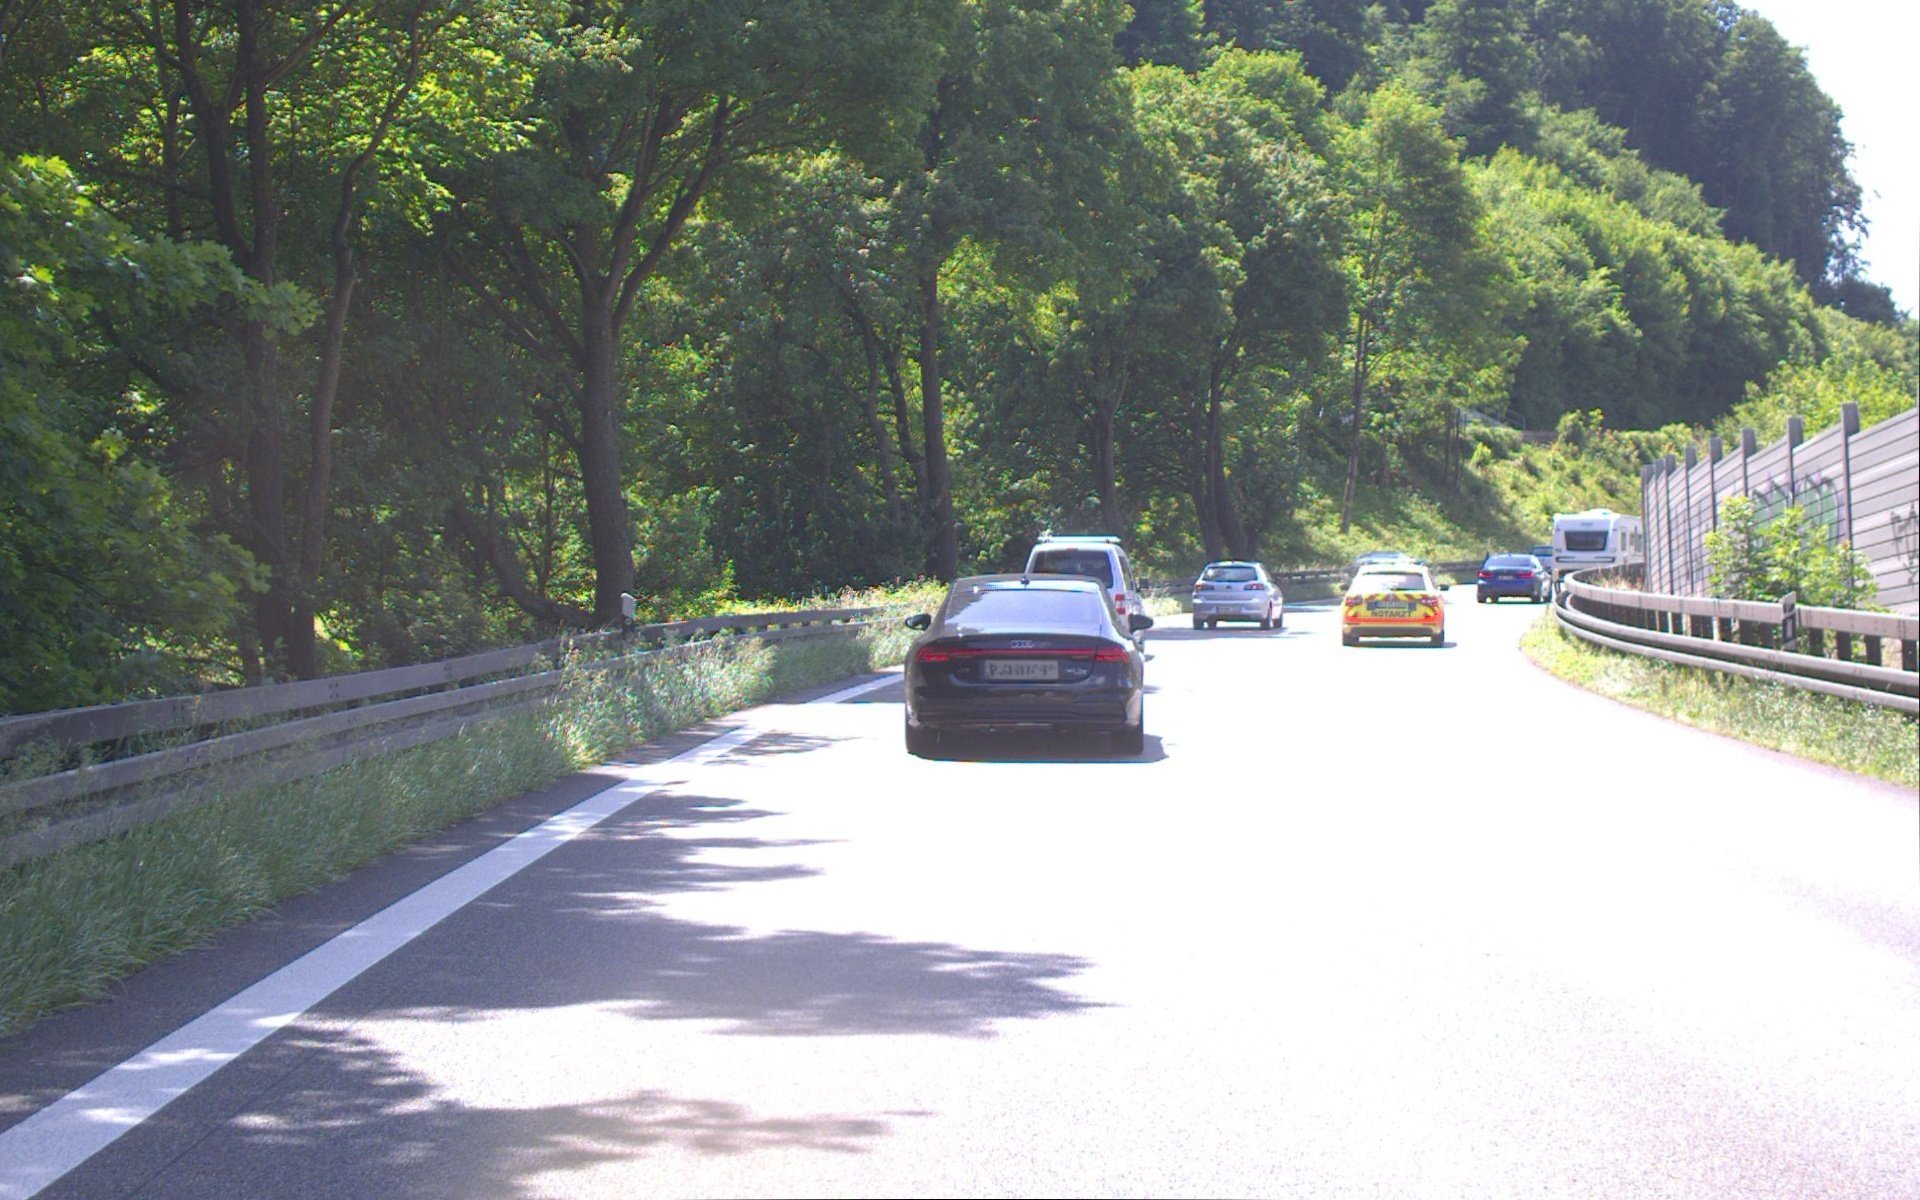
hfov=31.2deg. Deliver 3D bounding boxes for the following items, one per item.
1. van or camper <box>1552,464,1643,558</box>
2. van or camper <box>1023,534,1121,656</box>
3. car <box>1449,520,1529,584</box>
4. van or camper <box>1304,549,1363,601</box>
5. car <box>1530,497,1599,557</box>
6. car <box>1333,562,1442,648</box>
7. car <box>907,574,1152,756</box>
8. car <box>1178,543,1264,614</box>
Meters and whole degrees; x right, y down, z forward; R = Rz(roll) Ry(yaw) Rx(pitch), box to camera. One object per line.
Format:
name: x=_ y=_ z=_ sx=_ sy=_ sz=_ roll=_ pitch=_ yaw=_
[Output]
van or camper: x=22.281 y=-3.129 z=119.934 sx=2.457 sy=2.908 sz=6.123 roll=-7 pitch=0 yaw=14
van or camper: x=1.772 y=-0.076 z=53.470 sx=1.392 sy=1.810 sz=3.999 roll=-1 pitch=0 yaw=3
car: x=15.493 y=-1.398 z=100.816 sx=1.773 sy=1.631 sz=4.000 roll=-7 pitch=0 yaw=4
van or camper: x=11.457 y=-0.769 z=105.598 sx=1.558 sy=1.528 sz=3.505 roll=-2 pitch=0 yaw=3
car: x=23.371 y=-2.827 z=132.848 sx=1.995 sy=2.006 sz=3.997 roll=-7 pitch=0 yaw=16
car: x=7.747 y=0.085 z=62.017 sx=1.863 sy=1.483 sz=3.999 roll=-1 pitch=0 yaw=8
car: x=0.511 y=0.496 z=28.032 sx=1.837 sy=1.345 sz=4.000 roll=1 pitch=0 yaw=0
car: x=5.555 y=-0.446 z=72.930 sx=1.747 sy=1.426 sz=3.999 roll=-1 pitch=0 yaw=5
